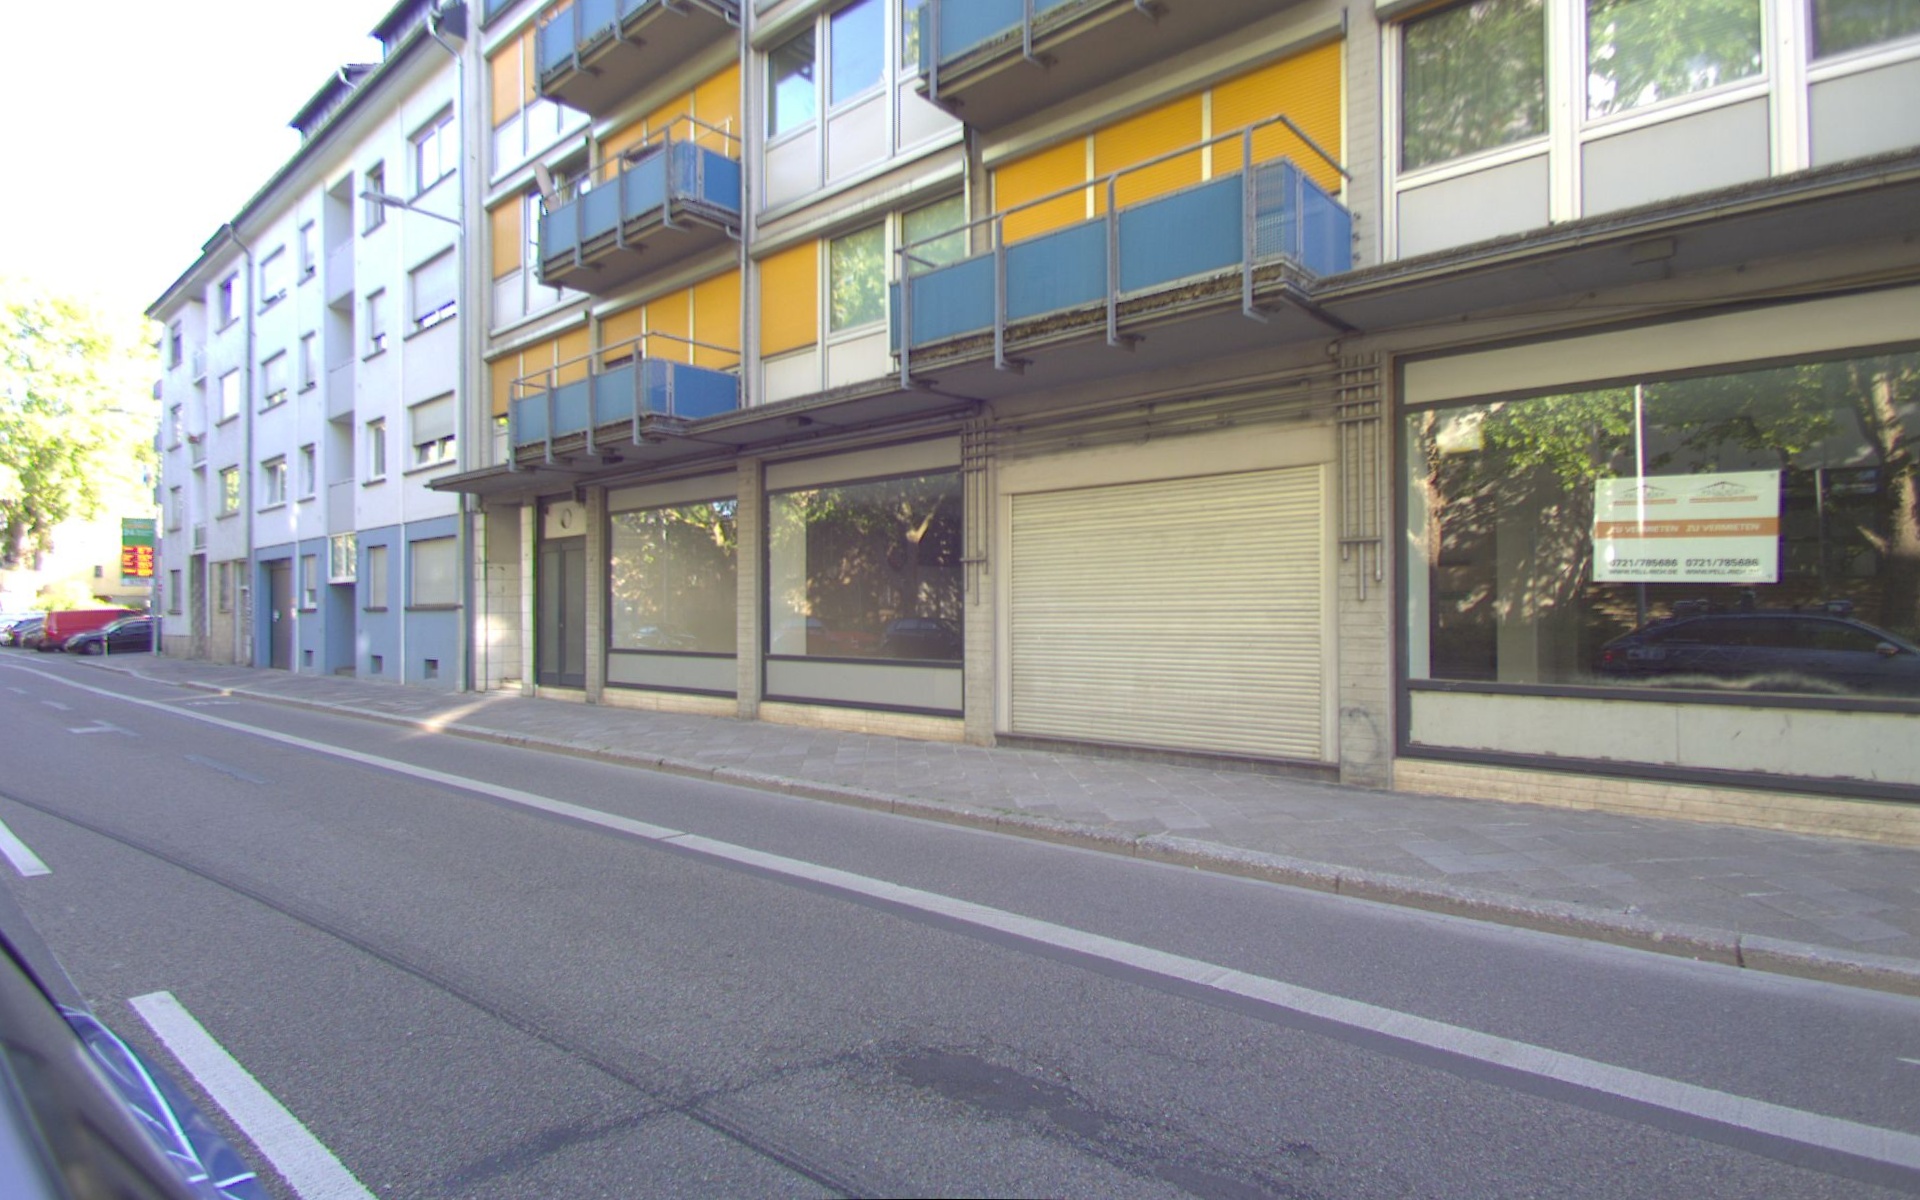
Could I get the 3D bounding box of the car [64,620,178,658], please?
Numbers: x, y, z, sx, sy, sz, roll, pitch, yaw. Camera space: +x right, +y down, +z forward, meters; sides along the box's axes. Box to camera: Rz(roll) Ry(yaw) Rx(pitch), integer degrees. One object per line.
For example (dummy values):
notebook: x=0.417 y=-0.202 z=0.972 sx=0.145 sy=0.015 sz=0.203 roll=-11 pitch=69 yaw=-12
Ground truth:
car: x=-38.035 y=1.735 z=45.942 sx=1.657 sy=1.583 sz=3.762 roll=-1 pitch=0 yaw=41

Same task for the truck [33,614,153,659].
truck: x=-40.715 y=1.653 z=47.576 sx=1.999 sy=1.939 sz=4.040 roll=-1 pitch=0 yaw=40

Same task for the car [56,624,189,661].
car: x=-36.485 y=1.799 z=44.159 sx=1.657 sy=1.417 sz=4.269 roll=-1 pitch=0 yaw=40

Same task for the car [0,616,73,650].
car: x=-59.333 y=2.100 z=64.402 sx=2.000 sy=2.052 sz=4.180 roll=-1 pitch=0 yaw=43

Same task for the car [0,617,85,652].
car: x=-56.049 y=2.072 z=61.472 sx=2.000 sy=1.971 sz=4.180 roll=-1 pitch=0 yaw=43
